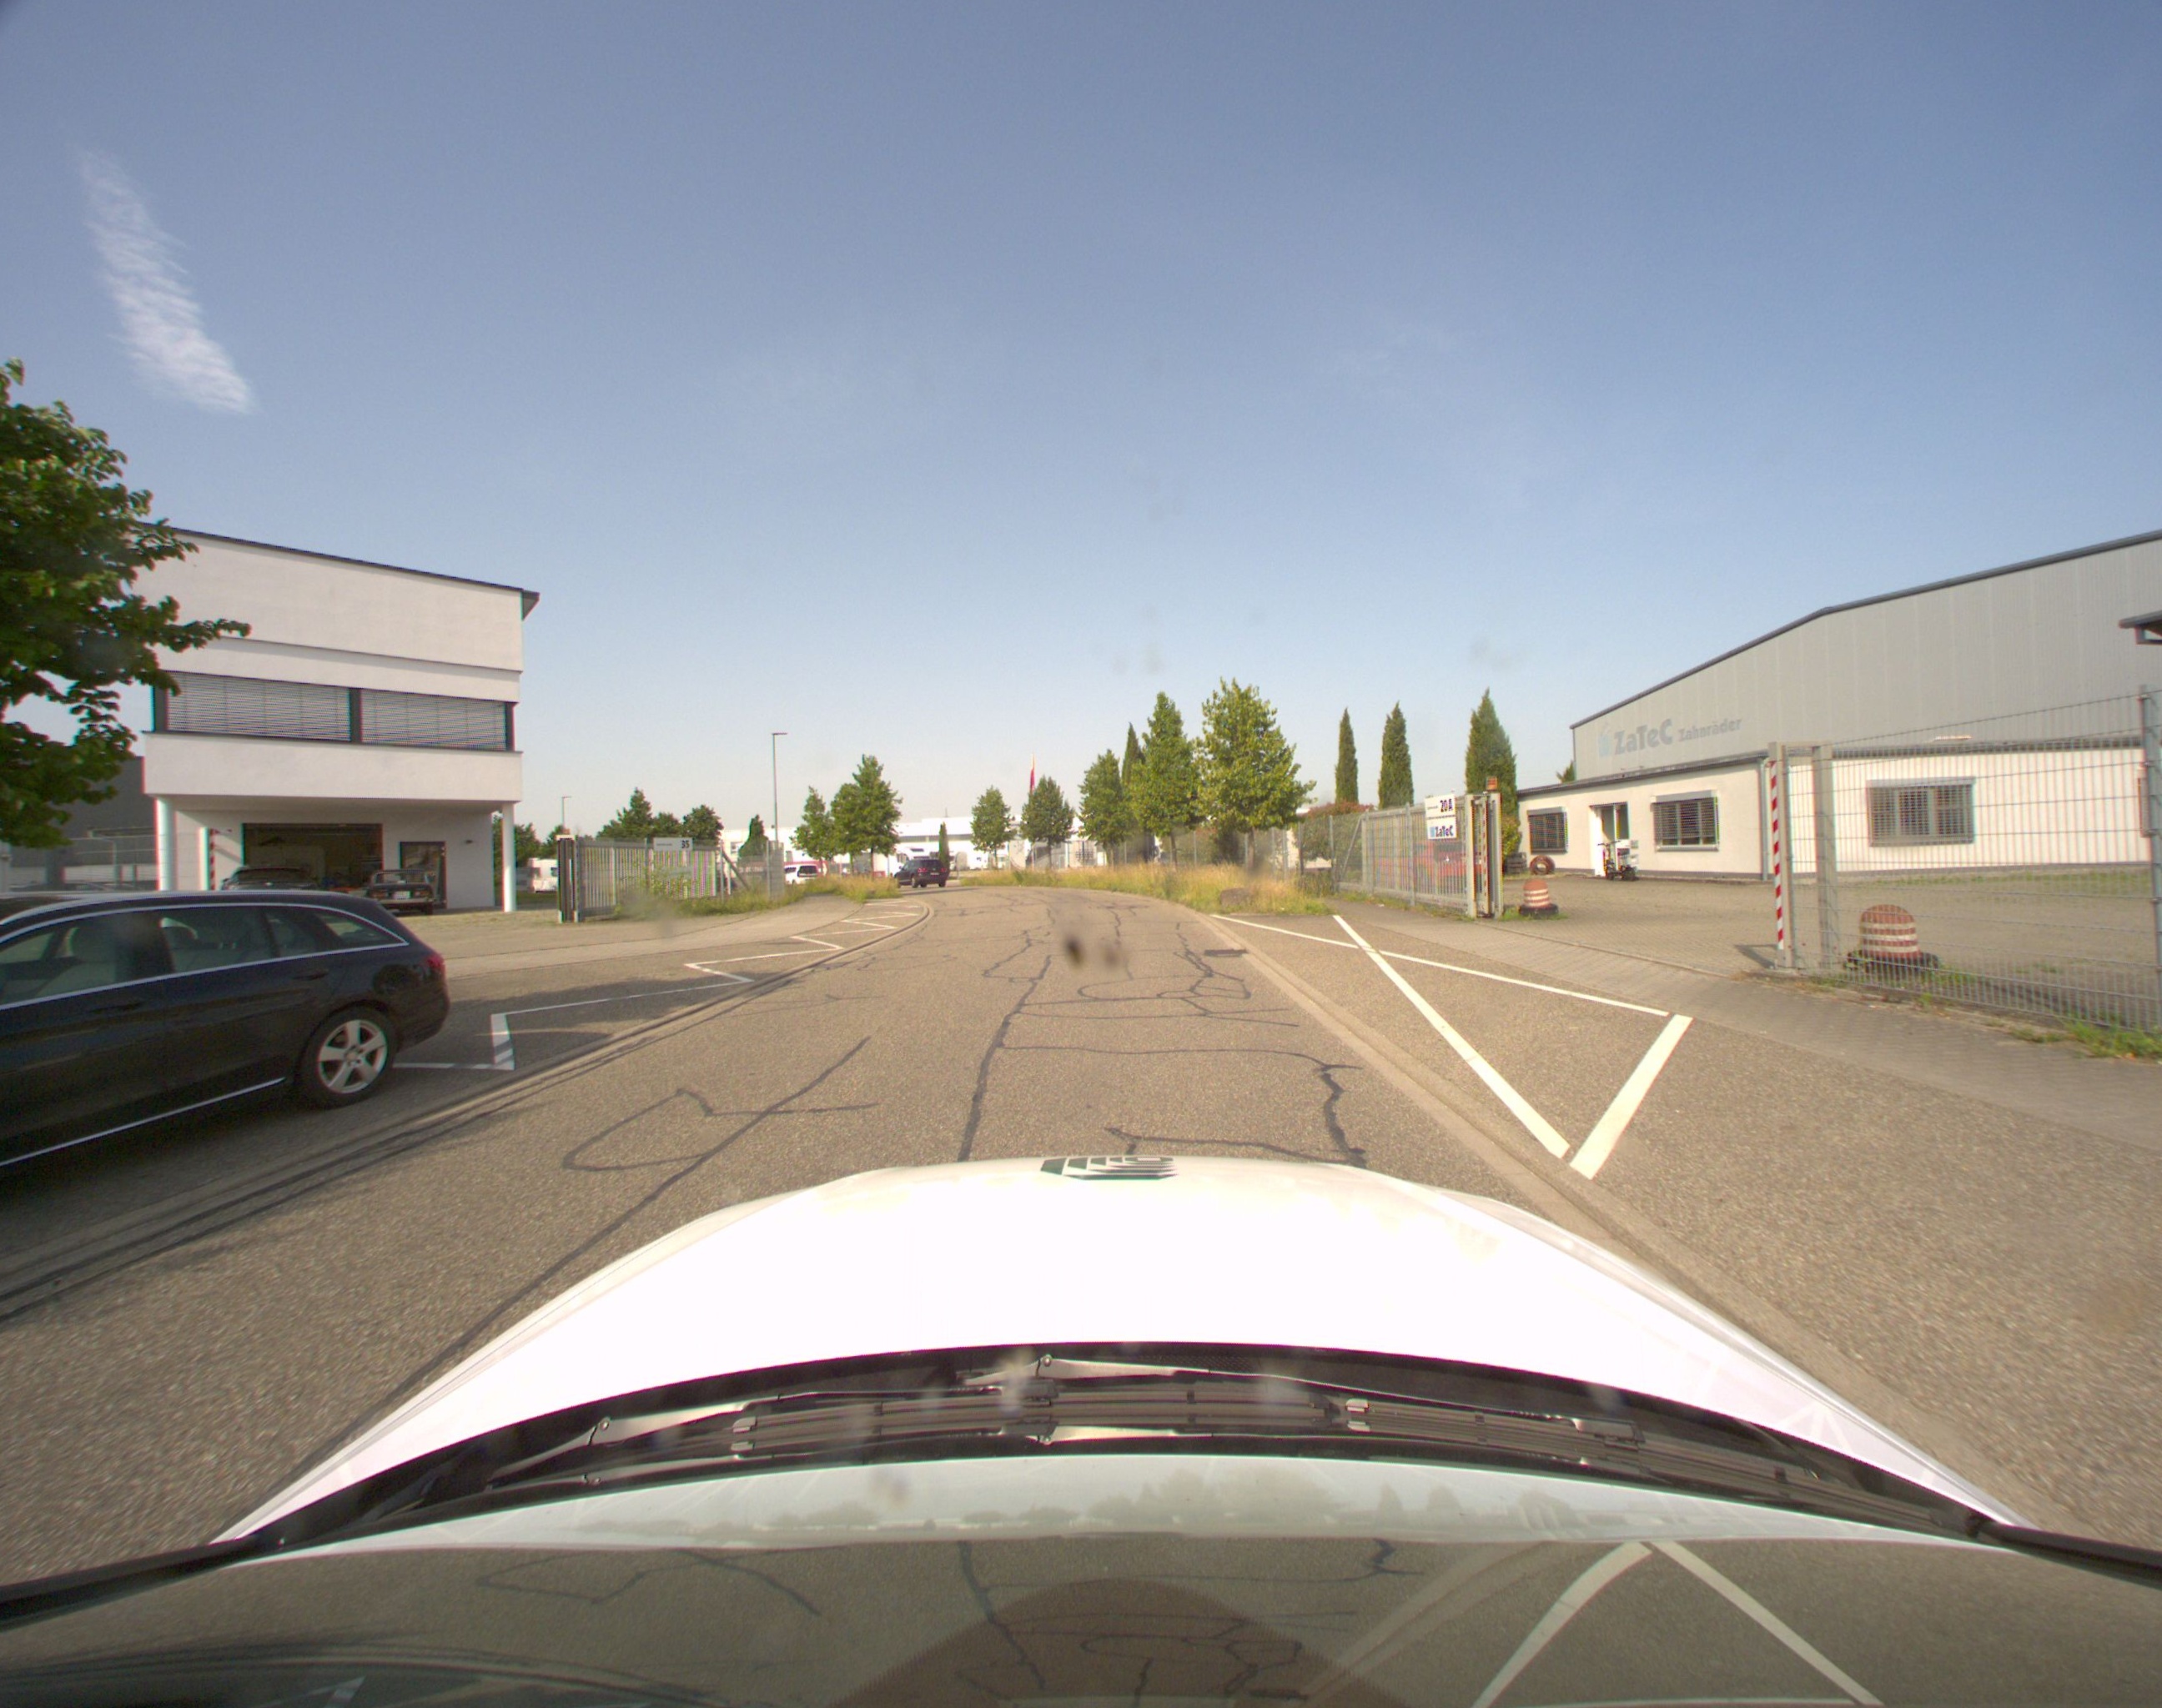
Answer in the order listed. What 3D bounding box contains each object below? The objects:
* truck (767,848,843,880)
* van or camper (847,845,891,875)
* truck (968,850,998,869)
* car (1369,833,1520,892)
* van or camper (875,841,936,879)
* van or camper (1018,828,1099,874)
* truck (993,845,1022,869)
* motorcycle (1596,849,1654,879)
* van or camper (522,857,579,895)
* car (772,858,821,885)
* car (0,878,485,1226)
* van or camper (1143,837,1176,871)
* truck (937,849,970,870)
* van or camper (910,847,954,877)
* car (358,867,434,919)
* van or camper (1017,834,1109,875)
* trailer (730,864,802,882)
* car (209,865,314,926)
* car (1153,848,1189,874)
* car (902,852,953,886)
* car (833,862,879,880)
[{"bbox_3d":[-36.969,1.292,109.362,9.255,3.972,2.458,-2,0,-1],"label":"truck"},{"bbox_3d":[-23.408,0.645,90.249,2.650,3.084,6.803,-2,0,4],"label":"van or camper"},{"bbox_3d":[-12.522,0.719,105.066,2.440,2.265,8.008,-2,0,3],"label":"truck"},{"bbox_3d":[9.660,0.202,22.140,1.875,1.358,4.771,-2,0,-1],"label":"car"},{"bbox_3d":[-14.784,0.551,68.241,2.348,2.943,6.895,-2,0,-35],"label":"van or camper"},{"bbox_3d":[-1.630,-0.139,54.820,2.363,2.848,7.273,-1,-1,-29],"label":"van or camper"},{"bbox_3d":[-9.400,0.357,104.926,2.440,2.826,8.008,-2,0,3],"label":"truck"},{"bbox_3d":[14.862,0.270,22.306,0.532,0.751,1.584,-3,0,2],"label":"motorcycle"},{"bbox_3d":[-37.974,1.588,58.257,4.891,2.560,2.327,-2,0,44],"label":"van or camper"},{"bbox_3d":[-21.766,1.345,62.214,2.011,1.899,4.414,-2,0,-41],"label":"car"},{"bbox_3d":[-5.839,0.948,4.275,1.985,1.466,4.436,0,0,3],"label":"car"},{"bbox_3d":[7.029,0.033,73.905,2.313,2.864,6.608,-2,-1,0],"label":"van or camper"},{"bbox_3d":[-16.008,0.629,102.498,2.440,2.471,8.008,-2,0,3],"label":"truck"},{"bbox_3d":[-13.687,0.716,75.226,2.473,2.558,6.629,-2,0,2],"label":"van or camper"},{"bbox_3d":[-20.997,1.153,24.905,1.572,1.415,3.873,-2,0,-43],"label":"car"},{"bbox_3d":[-1.486,0.038,66.319,7.245,3.032,2.581,-2,-1,-4],"label":"van or camper"},{"bbox_3d":[-28.687,1.760,73.931,2.647,1.388,9.338,-5,2,-43],"label":"trailer"},{"bbox_3d":[-22.745,1.121,22.744,1.879,1.487,3.951,-2,0,-43],"label":"car"},{"bbox_3d":[5.862,0.455,53.553,1.719,1.643,3.995,0,0,-3],"label":"car"},{"bbox_3d":[-9.035,0.874,47.610,2.003,1.804,3.967,-2,0,-25],"label":"car"},{"bbox_3d":[-20.715,1.553,75.073,2.148,1.476,4.018,-2,0,17],"label":"car"}]
